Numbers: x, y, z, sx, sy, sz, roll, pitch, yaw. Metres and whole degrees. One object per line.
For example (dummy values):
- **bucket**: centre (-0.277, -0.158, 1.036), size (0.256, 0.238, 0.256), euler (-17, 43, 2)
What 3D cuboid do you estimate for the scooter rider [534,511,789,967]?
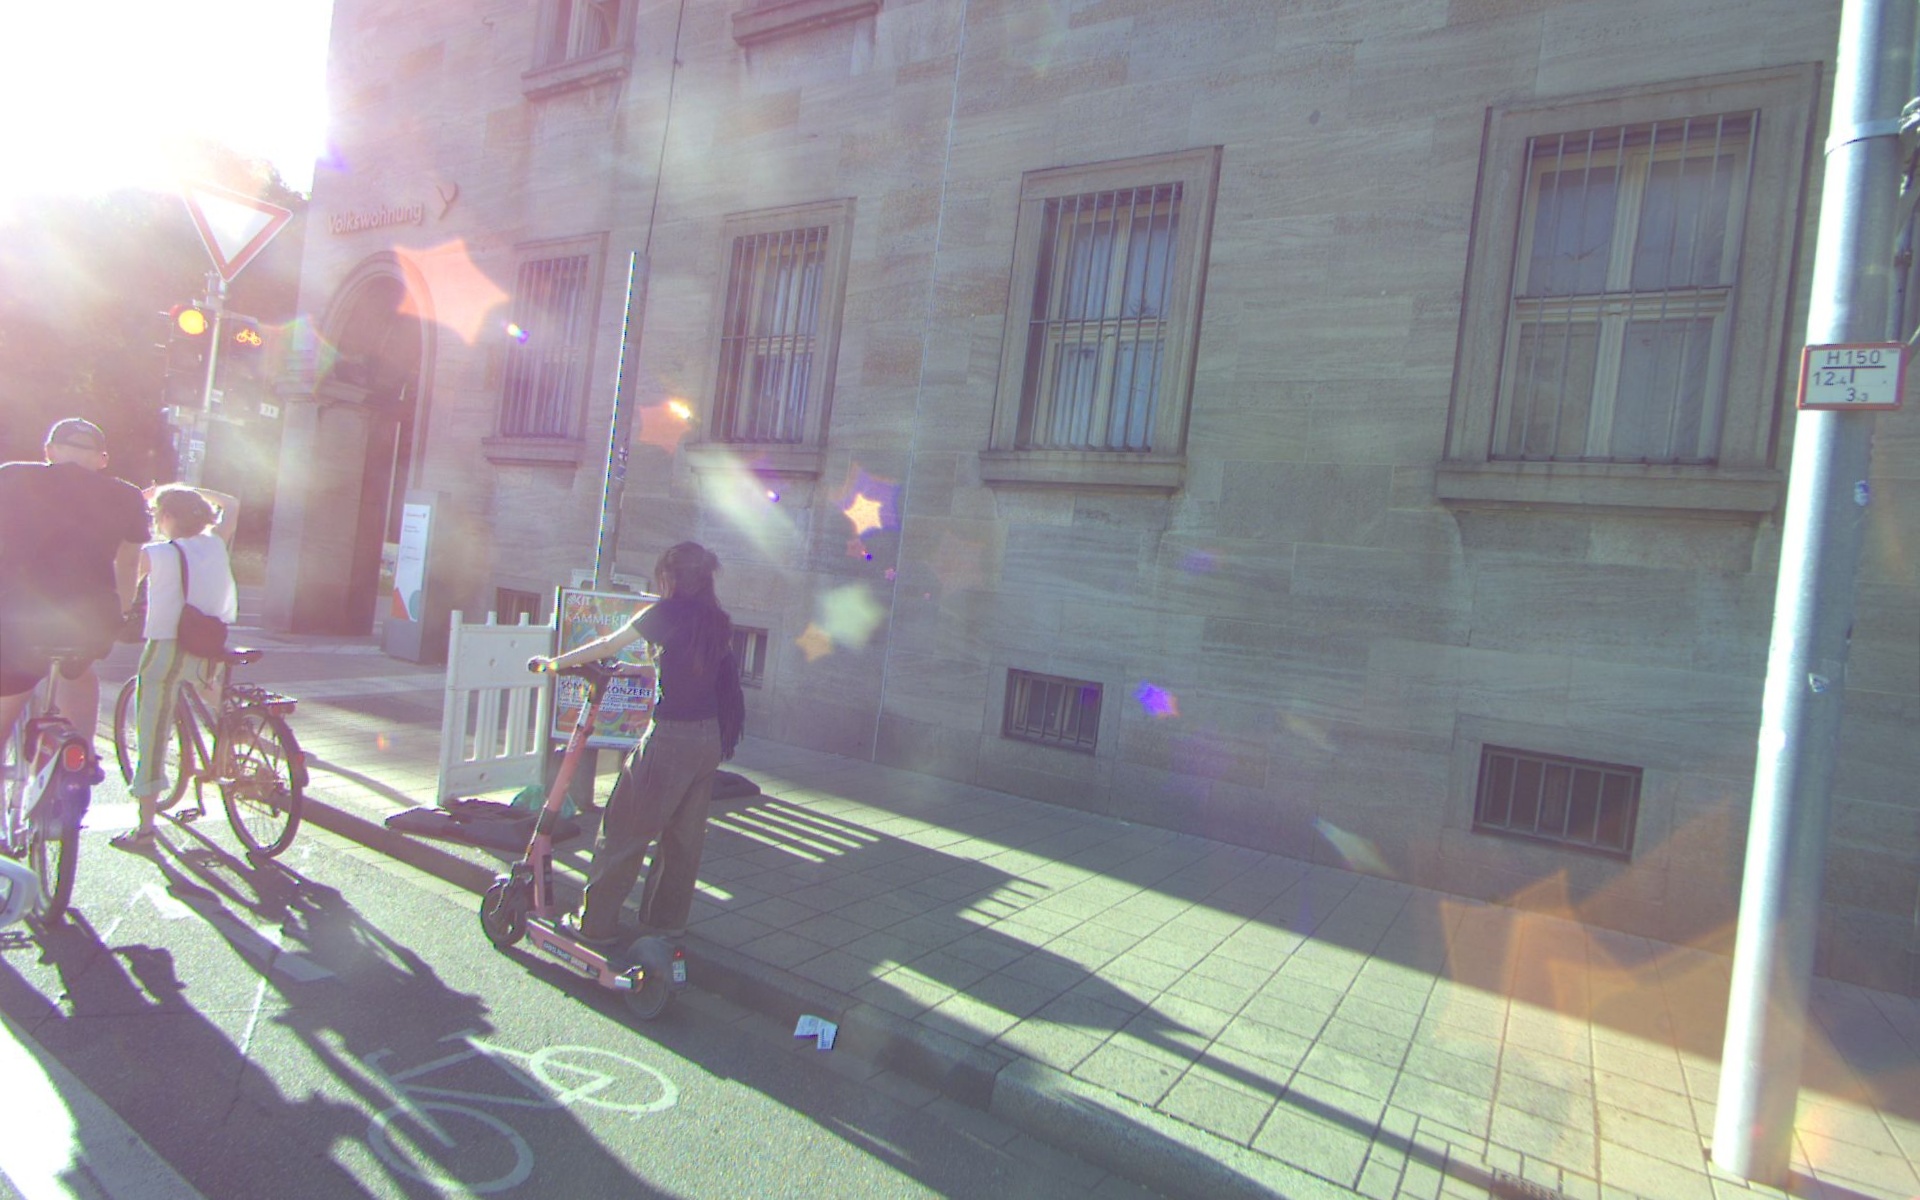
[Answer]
- **scooter rider**: centre (-1.143, 0.500, 3.917), size (0.566, 1.581, 0.546), euler (7, 0, 23)

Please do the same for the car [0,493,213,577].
- **car**: centre (-23.477, -1.745, 27.338), size (1.967, 1.533, 4.586), euler (6, -2, 32)

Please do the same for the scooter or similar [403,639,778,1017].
- **scooter or similar**: centre (-1.465, 0.815, 3.981), size (1.249, 1.163, 0.574), euler (6, -1, 26)

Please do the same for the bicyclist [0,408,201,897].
- **bicyclist**: centre (-3.658, 0.174, 3.971), size (0.897, 1.736, 0.624), euler (7, 0, 31)

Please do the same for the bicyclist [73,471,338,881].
- **bicyclist**: centre (-3.643, 0.320, 4.852), size (0.934, 1.760, 0.584), euler (7, 0, 32)

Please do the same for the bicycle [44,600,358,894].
- **bicycle**: centre (-3.711, 0.634, 4.873), size (1.718, 1.057, 0.582), euler (7, 0, 33)

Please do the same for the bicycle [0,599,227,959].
- **bicycle**: centre (-3.722, 0.595, 3.977), size (1.717, 1.057, 0.624), euler (7, 0, 31)

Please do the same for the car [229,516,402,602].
- **car**: centre (-20.276, -1.255, 31.793), size (1.968, 2.037, 3.994), euler (6, -2, 33)
